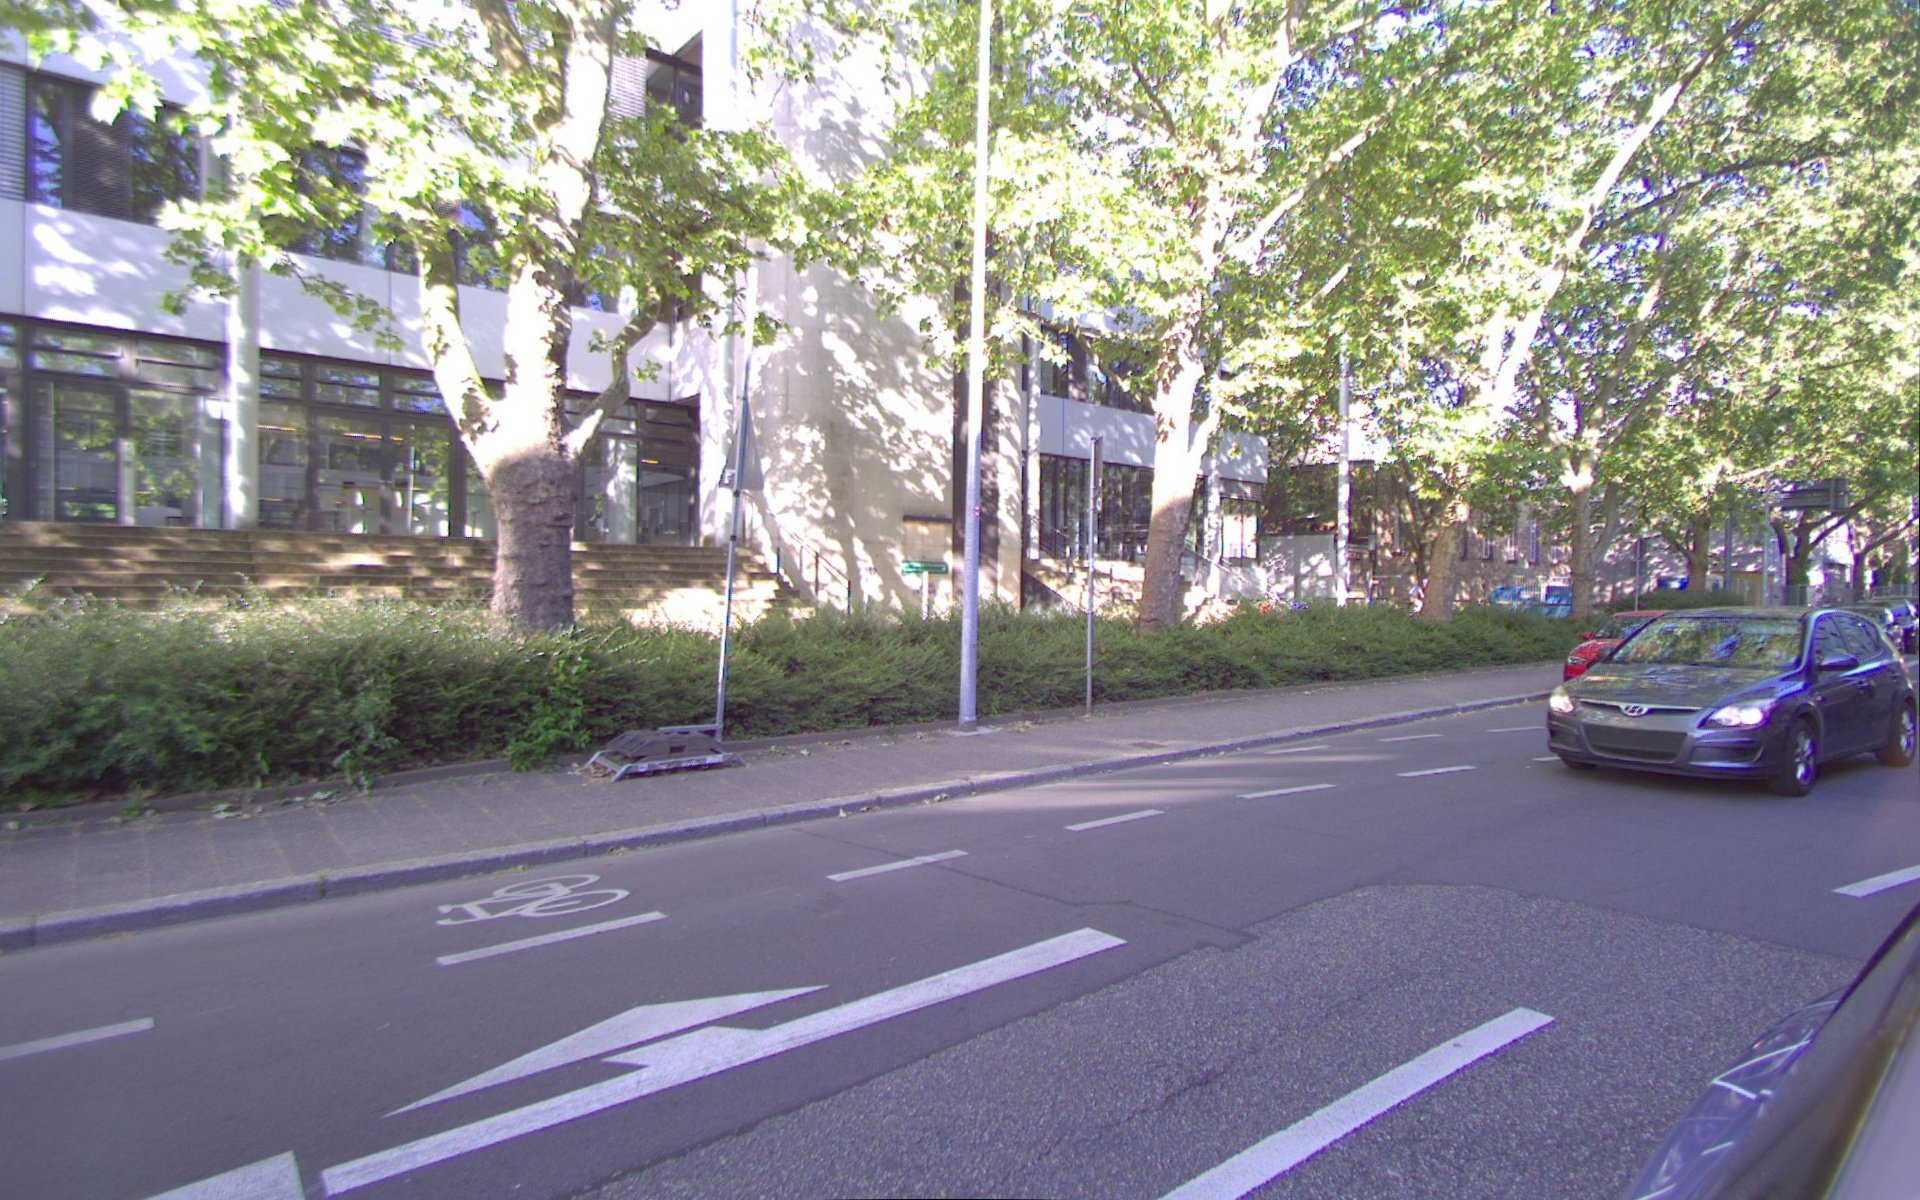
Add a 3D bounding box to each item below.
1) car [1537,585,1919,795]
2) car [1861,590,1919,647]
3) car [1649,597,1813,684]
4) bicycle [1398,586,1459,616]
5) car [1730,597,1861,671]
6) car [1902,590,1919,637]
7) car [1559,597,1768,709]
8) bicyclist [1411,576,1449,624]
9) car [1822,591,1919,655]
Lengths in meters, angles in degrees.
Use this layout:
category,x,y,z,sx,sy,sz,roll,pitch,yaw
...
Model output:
category,x,y,z,sx,sy,sz,roll,pitch,yaw
car,7.006,0.635,9.052,3.899,1.501,1.650,0,1,-34
car,29.714,0.539,31.844,3.840,1.708,1.633,0,1,-42
car,14.813,0.709,19.371,4.022,1.472,1.739,0,-1,-42
bicycle,16.281,0.021,35.178,0.721,1.027,1.797,0,0,-40
car,18.762,0.708,22.667,3.851,1.511,1.679,0,-1,-42
car,38.760,0.508,40.111,3.829,1.818,1.739,0,1,-42
car,11.287,0.750,16.142,4.071,1.548,1.827,0,-1,-42
bicyclist,16.320,-0.006,35.134,0.686,1.640,1.036,0,0,-41
car,25.928,0.593,28.696,4.022,1.653,1.739,0,1,-42
